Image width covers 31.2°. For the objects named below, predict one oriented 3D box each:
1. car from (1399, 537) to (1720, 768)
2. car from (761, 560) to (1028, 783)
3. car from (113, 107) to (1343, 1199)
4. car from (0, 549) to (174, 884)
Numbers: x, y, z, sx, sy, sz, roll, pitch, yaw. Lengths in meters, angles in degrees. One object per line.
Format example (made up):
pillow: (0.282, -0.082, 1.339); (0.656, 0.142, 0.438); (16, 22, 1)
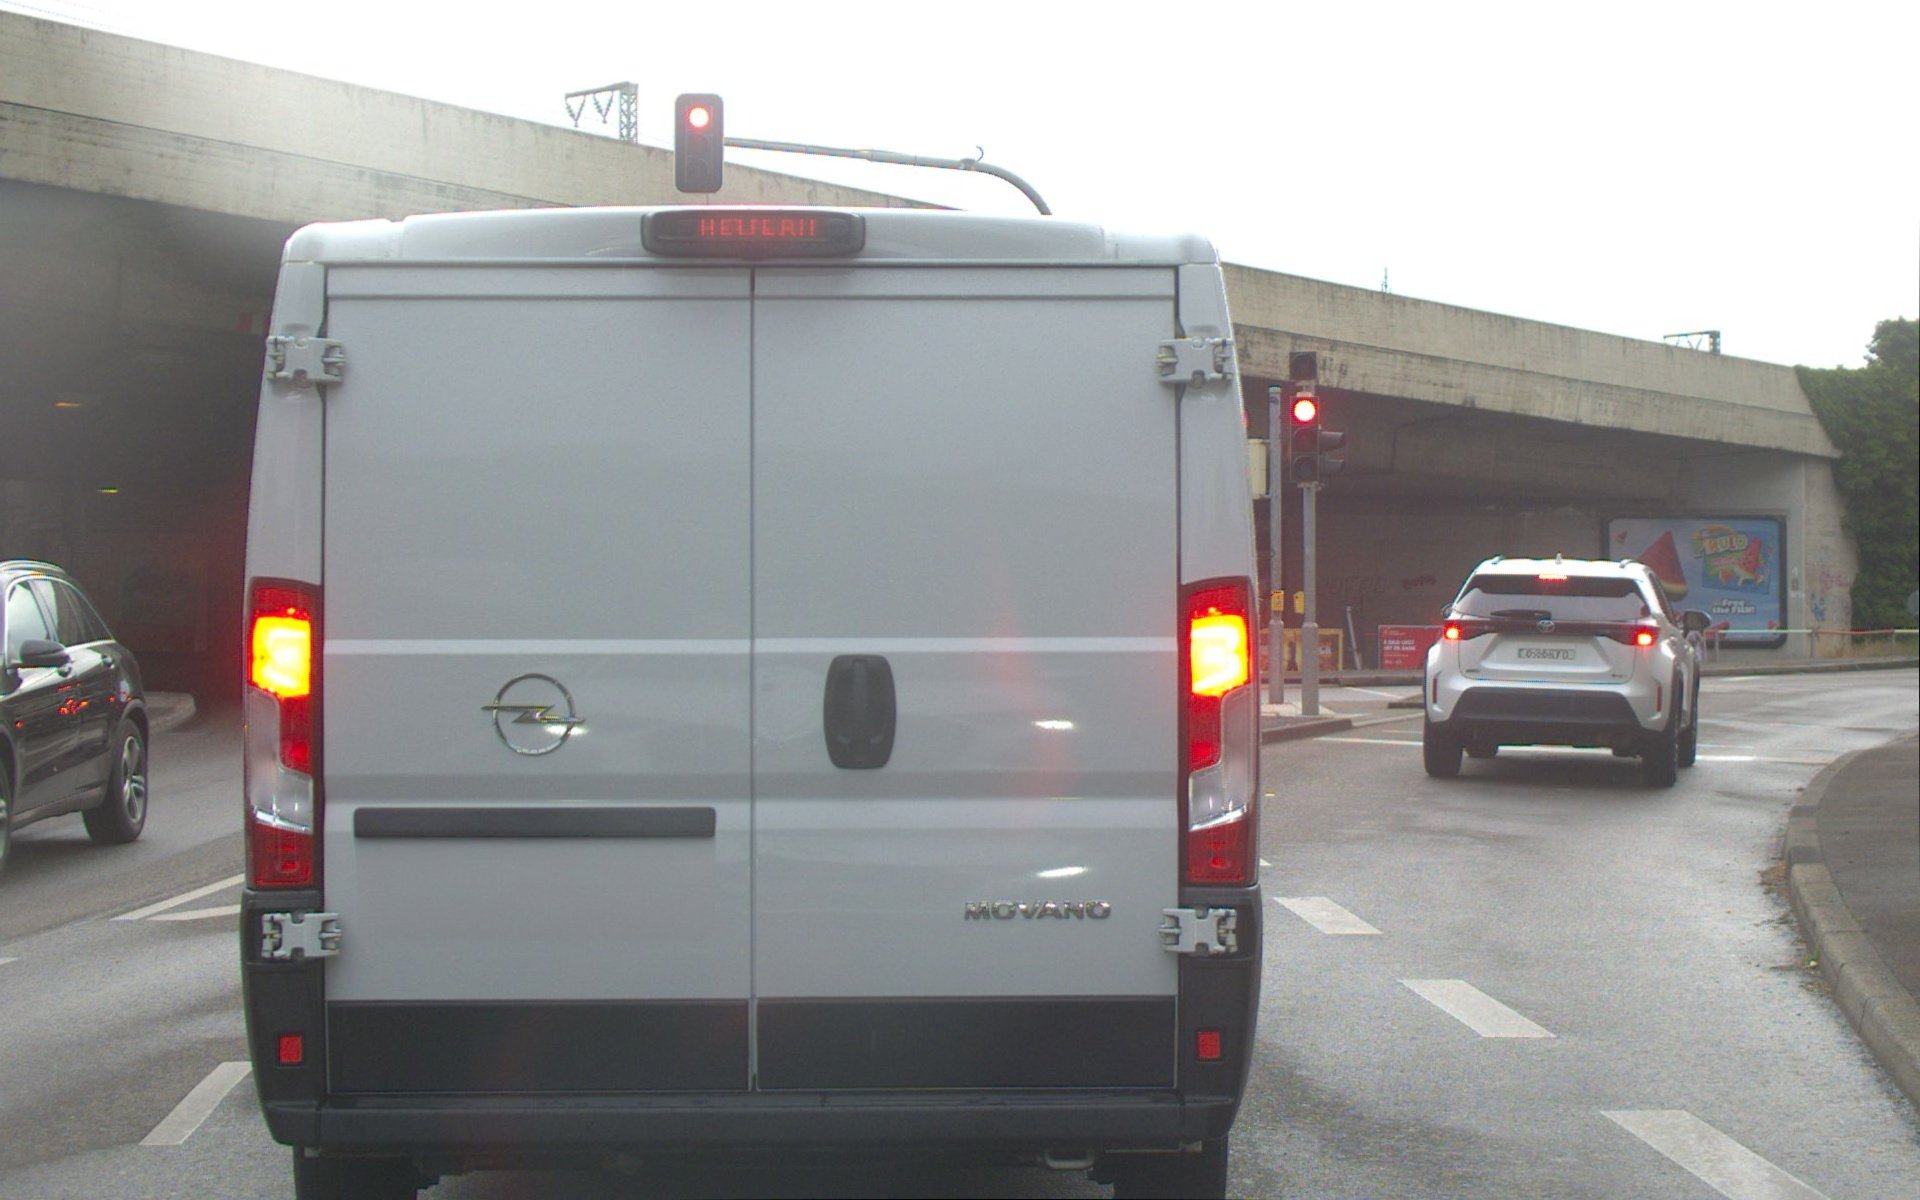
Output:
car: (4.476, 0.373, 25.223); (1.995, 1.544, 3.997); (0, -1, 15)
car: (-0.474, 0.579, 28.777); (1.994, 1.723, 3.999); (0, -1, 2)
car: (-0.465, 0.235, 9.117); (2.305, 2.335, 5.282); (0, 0, -1)
car: (-5.589, 0.549, 18.014); (1.914, 1.621, 4.434); (0, 0, 0)
